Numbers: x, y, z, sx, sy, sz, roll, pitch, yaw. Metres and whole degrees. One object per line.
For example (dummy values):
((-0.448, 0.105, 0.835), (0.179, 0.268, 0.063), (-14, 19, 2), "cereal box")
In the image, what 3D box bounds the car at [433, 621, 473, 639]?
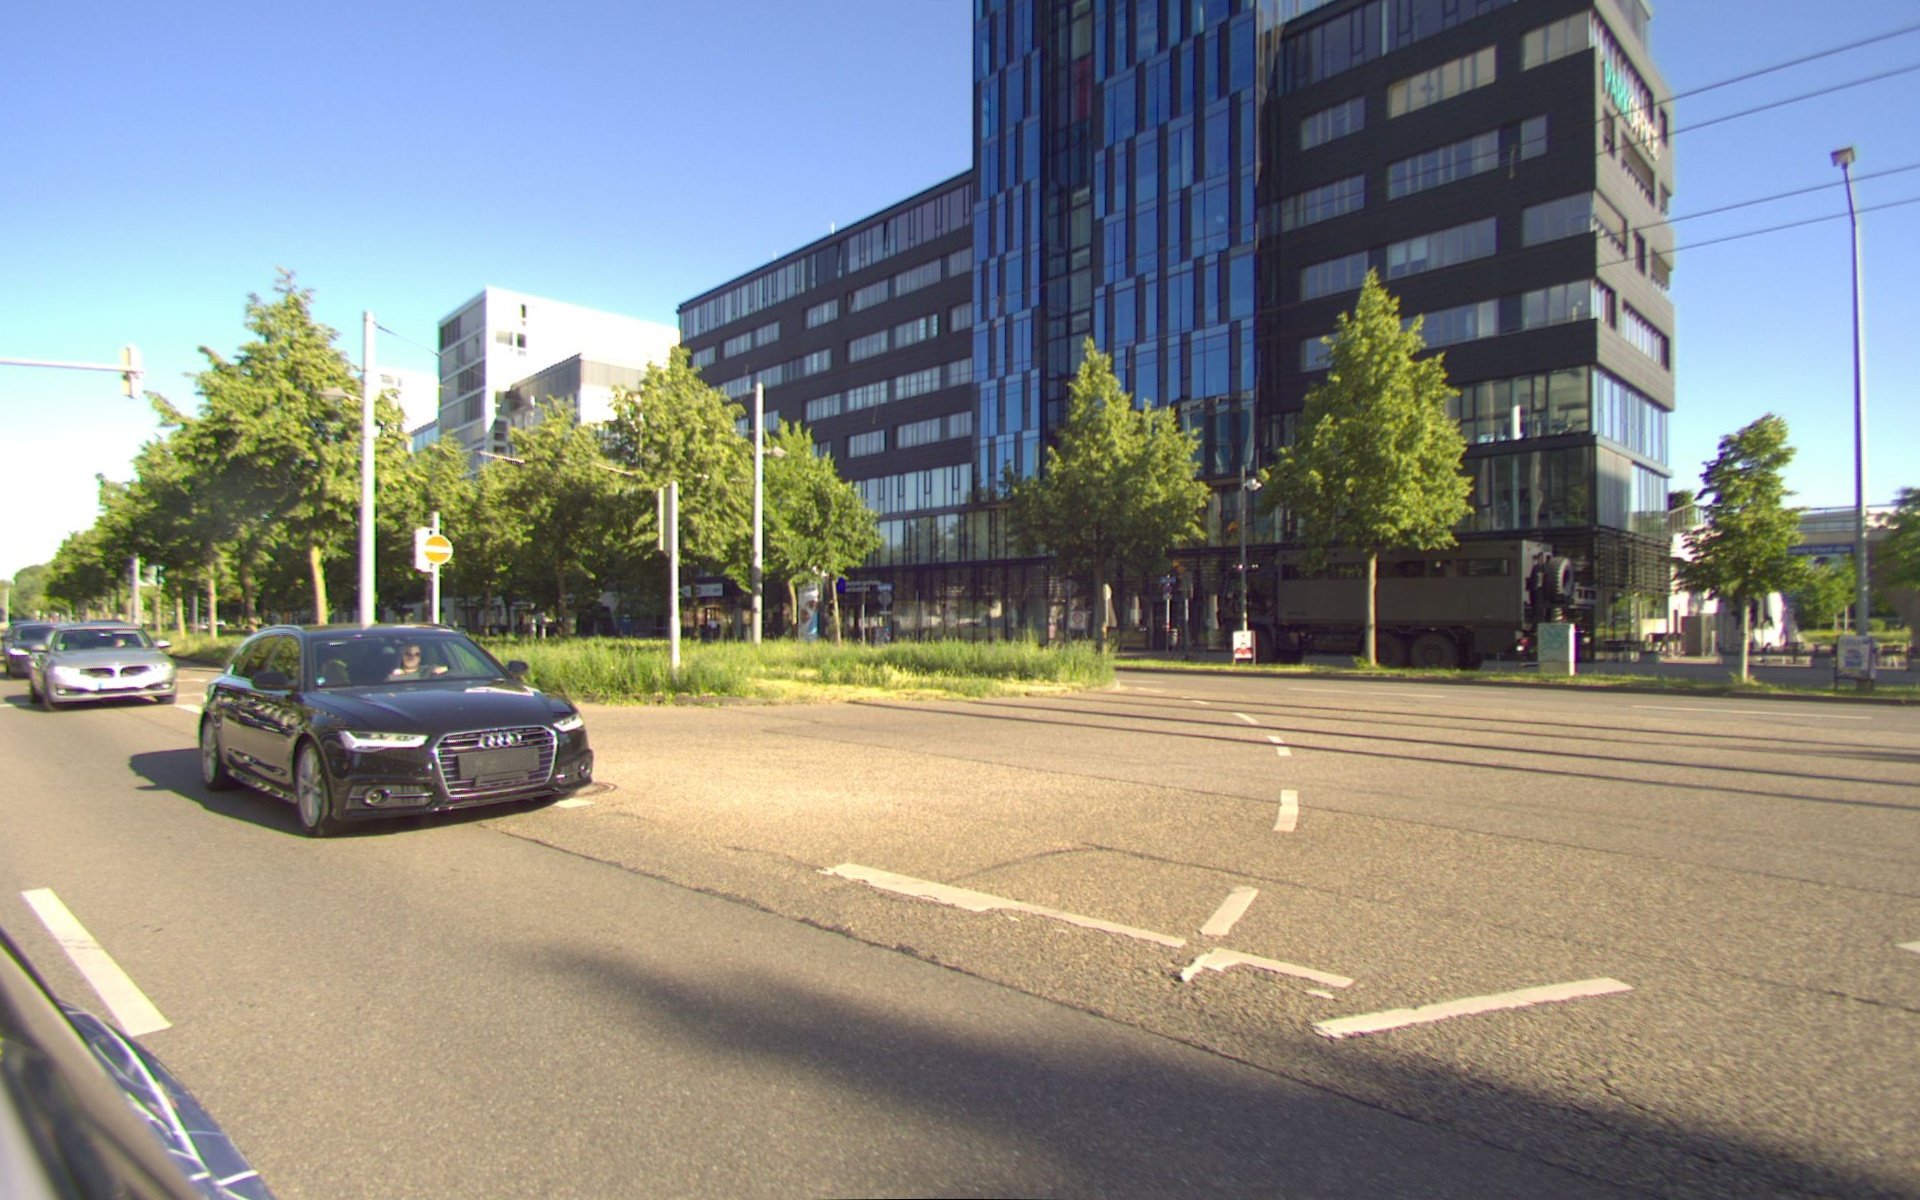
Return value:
((-49.030, 2.883, 97.806), (4.792, 1.712, 1.985), (-1, -2, 43), "car")

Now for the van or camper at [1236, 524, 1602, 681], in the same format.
((13.934, 0.136, 31.850), (2.721, 4.224, 10.239), (1, -1, -43), "van or camper")

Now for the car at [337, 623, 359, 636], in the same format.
((-75.853, 3.652, 125.417), (1.578, 1.682, 3.747), (1, -2, -43), "car")

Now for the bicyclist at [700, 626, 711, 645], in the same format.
((-18.558, 2.583, 73.773), (0.486, 1.416, 0.627), (0, -1, -44), "bicyclist")

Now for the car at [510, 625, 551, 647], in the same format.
((-35.153, 2.919, 82.850), (1.832, 1.762, 4.004), (1, -2, -43), "car")

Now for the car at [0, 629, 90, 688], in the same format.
((-25.886, 1.589, 28.591), (1.786, 1.534, 4.032), (1, -2, -43), "car")

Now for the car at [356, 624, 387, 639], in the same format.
((-68.493, 3.603, 117.724), (1.983, 1.712, 4.795), (1, -2, -45), "car")

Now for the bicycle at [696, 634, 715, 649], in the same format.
((-18.554, 3.048, 73.797), (0.521, 1.041, 1.849), (0, 0, -43), "bicycle")

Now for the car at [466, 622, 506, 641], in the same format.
((-42.286, 2.801, 90.225), (1.832, 1.697, 4.797), (1, -2, -43), "car")

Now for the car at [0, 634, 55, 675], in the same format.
((-36.460, 2.071, 39.382), (1.786, 1.465, 4.259), (1, -2, -42), "car")

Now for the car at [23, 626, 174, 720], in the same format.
((-15.987, 1.242, 18.689), (1.787, 1.500, 4.746), (1, -2, -44), "car")

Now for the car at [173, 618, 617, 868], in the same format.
((-4.770, 0.903, 8.219), (4.506, 1.468, 1.789), (-1, -1, 42), "car")
